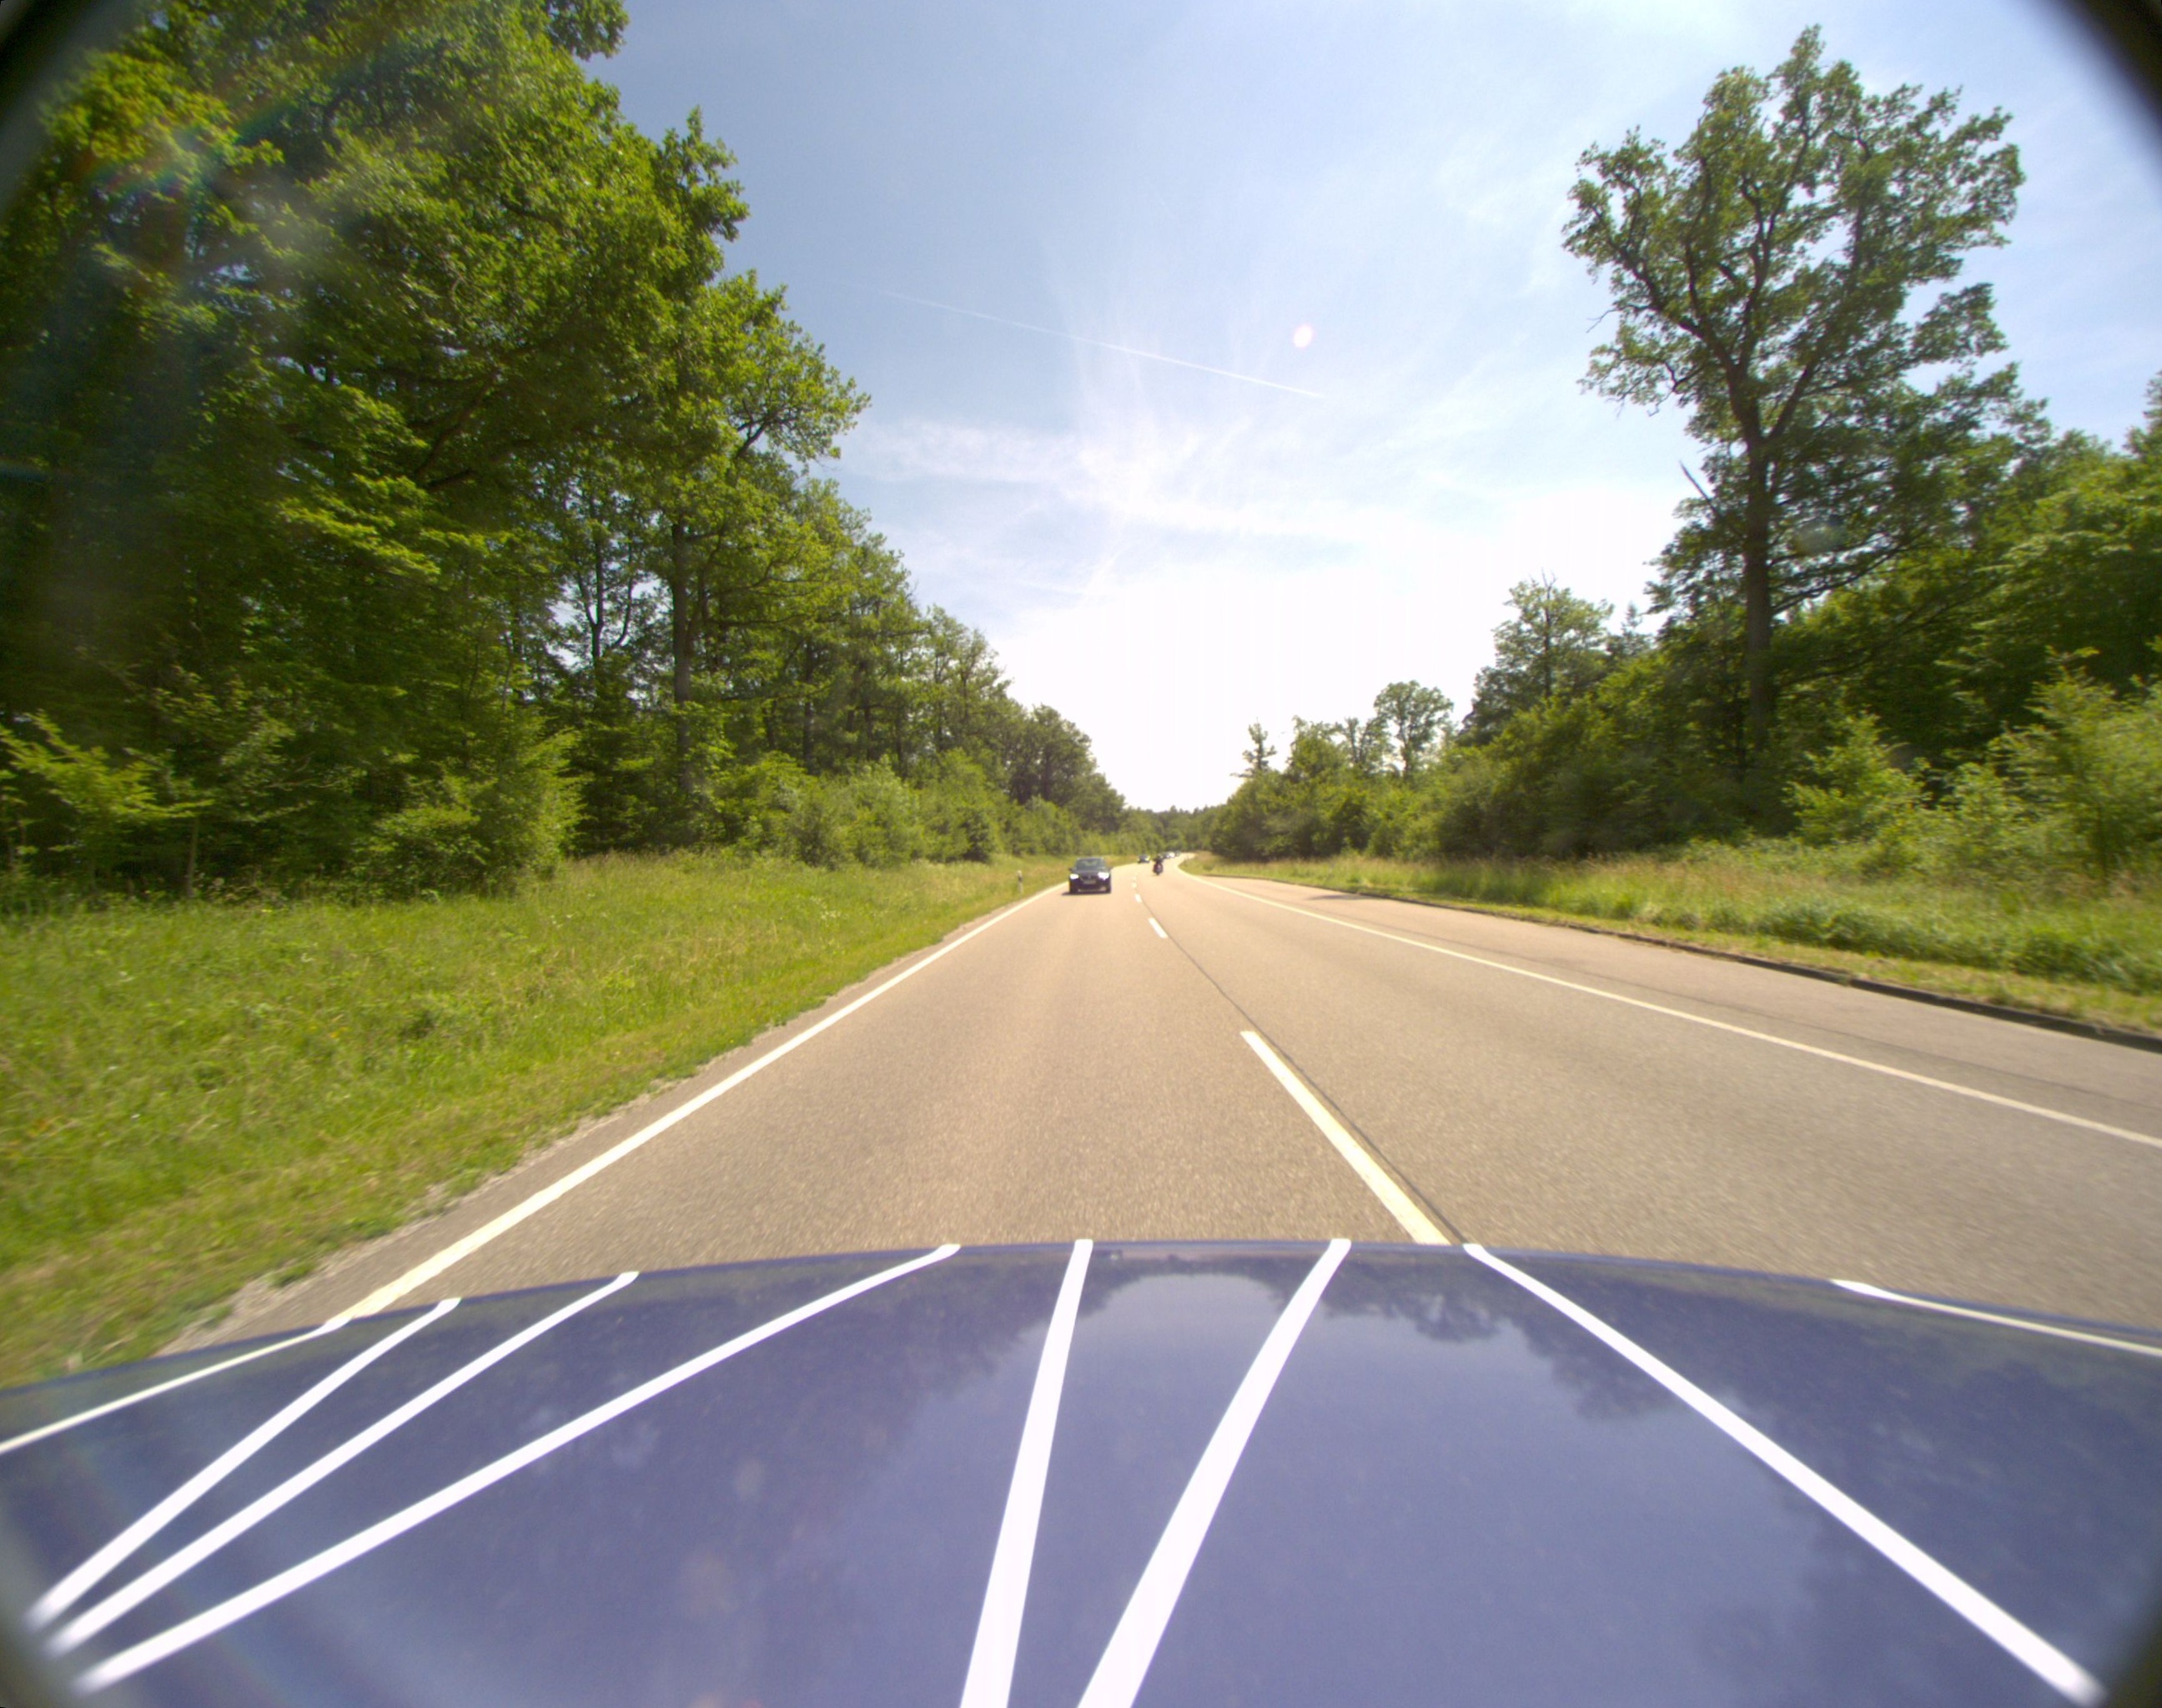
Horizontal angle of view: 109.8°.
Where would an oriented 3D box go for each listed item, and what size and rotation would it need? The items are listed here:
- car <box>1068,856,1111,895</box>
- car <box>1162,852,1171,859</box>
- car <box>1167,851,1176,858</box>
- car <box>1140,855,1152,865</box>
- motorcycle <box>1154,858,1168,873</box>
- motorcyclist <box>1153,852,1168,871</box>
[{"bbox_3d":[0.428,0.886,33.066,1.713,1.516,4.242,-2,0,3],"label":"car"},{"bbox_3d":[19.305,0.329,171.340,1.775,1.454,4.003,-2,0,10],"label":"car"},{"bbox_3d":[23.827,0.249,199.413,2.018,1.737,4.383,-2,0,9],"label":"car"},{"bbox_3d":[10.591,0.935,123.576,1.775,1.454,3.950,-2,0,8],"label":"car"},{"bbox_3d":[5.899,0.860,56.153,1.016,1.056,2.773,-1,0,6],"label":"motorcycle"},{"bbox_3d":[5.898,0.562,56.232,1.012,1.319,0.966,-2,1,5],"label":"motorcyclist"}]
